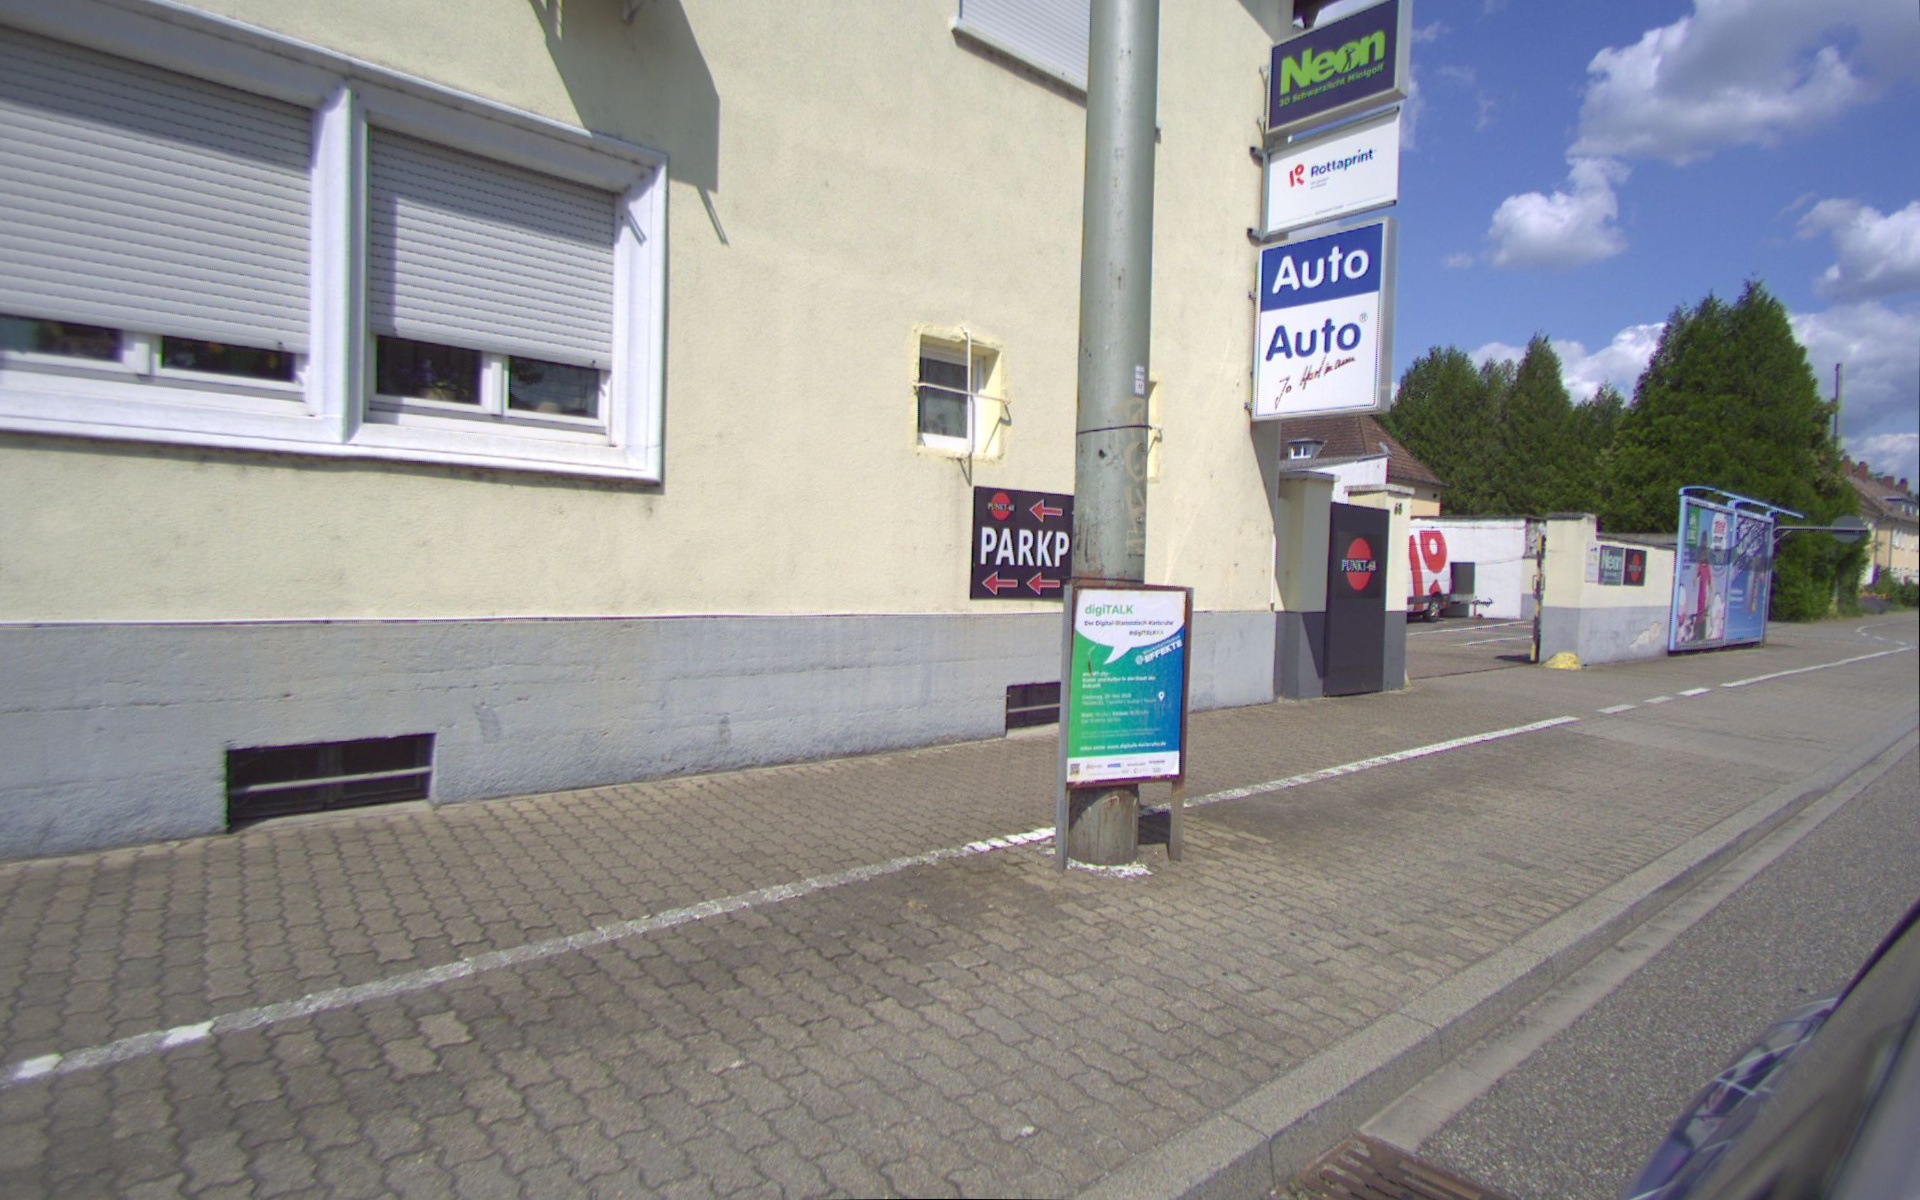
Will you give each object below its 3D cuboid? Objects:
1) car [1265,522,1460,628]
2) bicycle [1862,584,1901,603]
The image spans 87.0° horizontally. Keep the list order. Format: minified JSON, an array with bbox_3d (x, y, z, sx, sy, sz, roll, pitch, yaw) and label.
[{"bbox_3d":[10.542,-0.759,26.241,6.064,2.472,1.999,-3,4,-39],"label":"car"},{"bbox_3d":[55.306,-0.406,60.739,0.285,1.116,1.693,0,2,-40],"label":"bicycle"}]
